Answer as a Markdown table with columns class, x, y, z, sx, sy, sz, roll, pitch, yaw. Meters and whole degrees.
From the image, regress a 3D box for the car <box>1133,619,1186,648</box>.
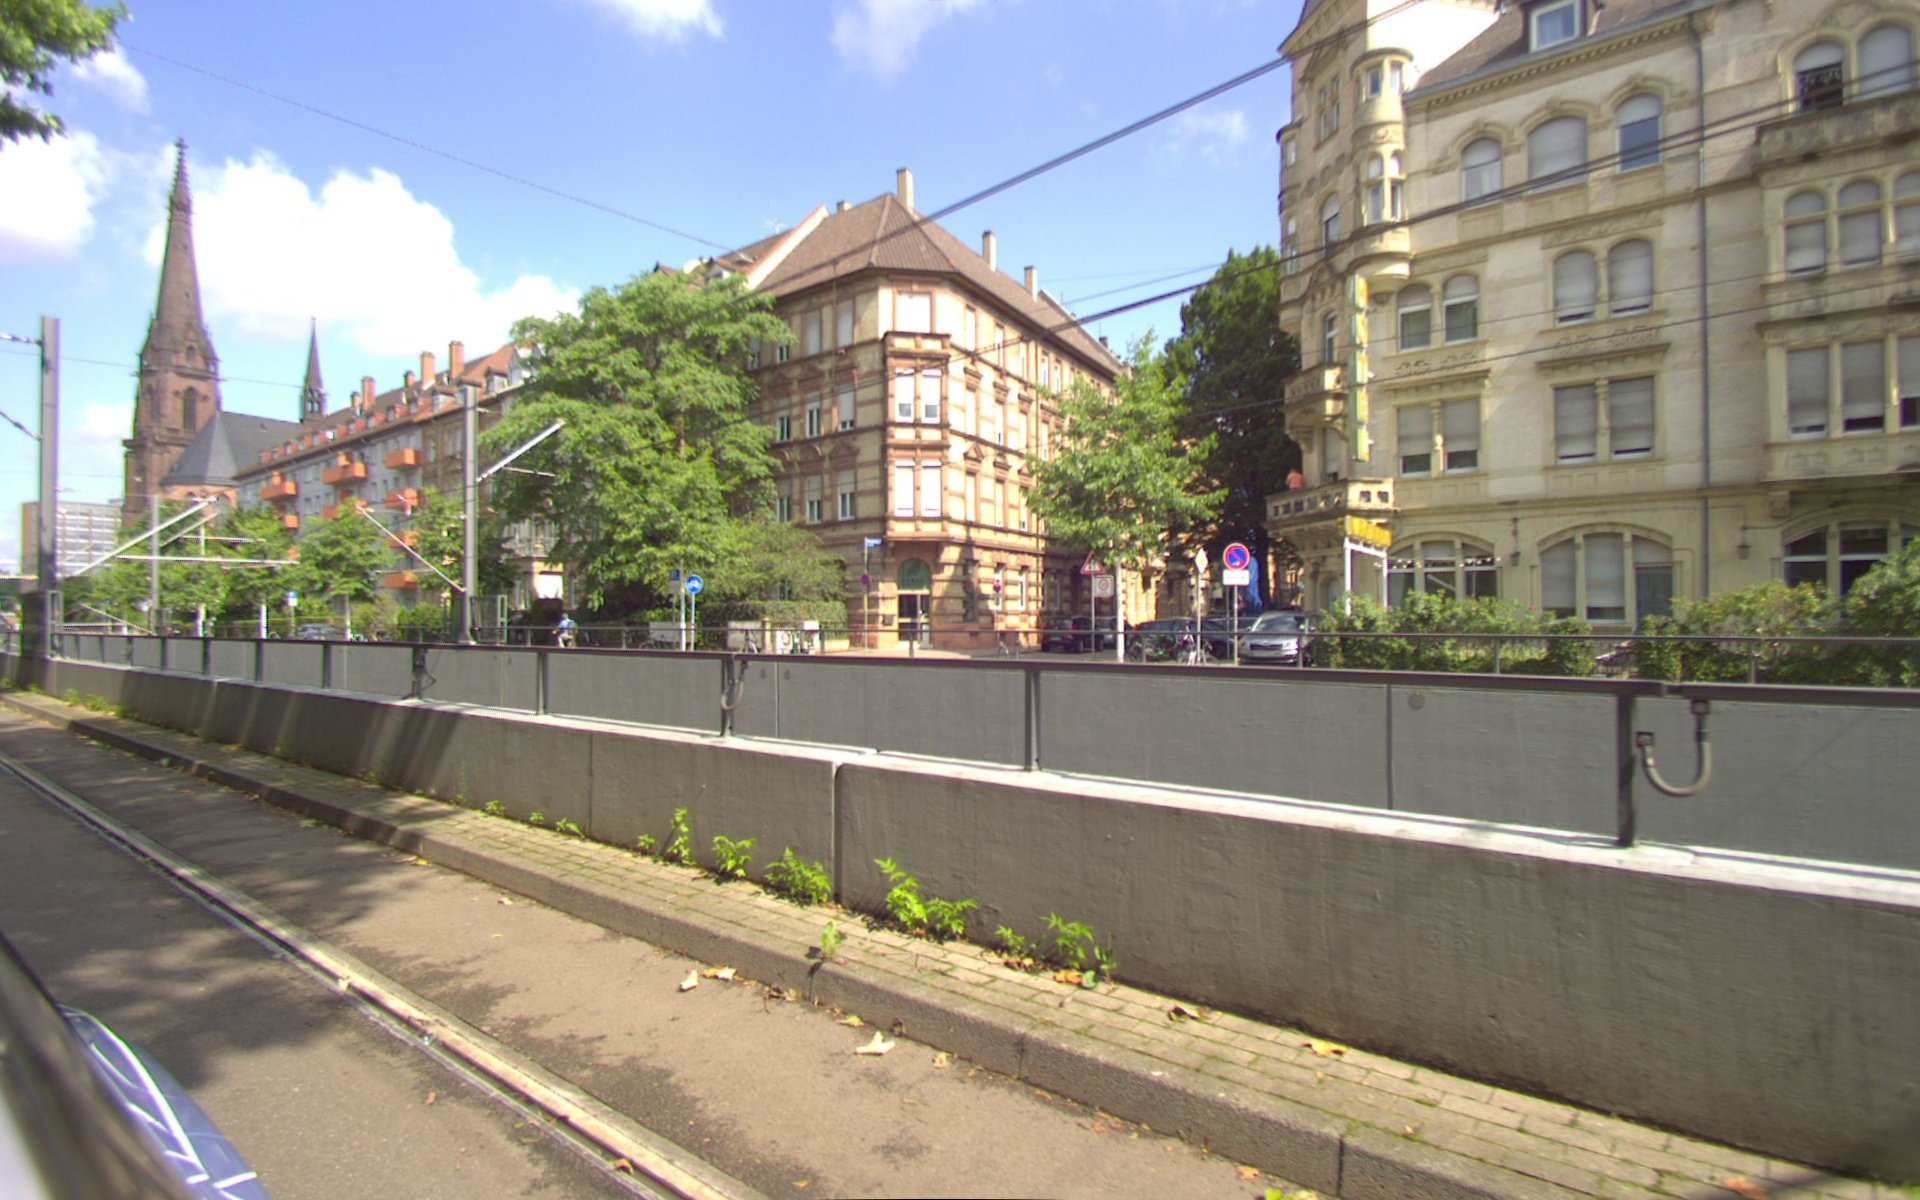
| class | x | y | z | sx | sy | sz | roll | pitch | yaw |
| --- | --- | --- | --- | --- | --- | --- | --- | --- | --- |
| car | 11.623 | 1.915 | 58.781 | 1.920 | 1.630 | 3.960 | -1 | -2 | 29 |

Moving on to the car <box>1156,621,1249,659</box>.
| class | x | y | z | sx | sy | sz | roll | pitch | yaw |
| --- | --- | --- | --- | --- | --- | --- | --- | --- | --- |
| car | 10.093 | 1.647 | 42.143 | 3.500 | 1.497 | 1.667 | -1 | -2 | 29 |

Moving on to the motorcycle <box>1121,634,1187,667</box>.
| class | x | y | z | sx | sy | sz | roll | pitch | yaw |
| --- | --- | --- | --- | --- | --- | --- | --- | --- | --- |
| motorcycle | 6.157 | 1.600 | 32.201 | 1.991 | 1.002 | 0.518 | -1 | -2 | 29 |

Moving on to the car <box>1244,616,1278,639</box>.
| class | x | y | z | sx | sy | sz | roll | pitch | yaw |
| --- | --- | --- | --- | --- | --- | --- | --- | --- | --- |
| car | 24.500 | 2.239 | 82.181 | 1.919 | 1.846 | 3.962 | -1 | -2 | 28 |

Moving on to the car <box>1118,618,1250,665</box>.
| class | x | y | z | sx | sy | sz | roll | pitch | yaw |
| --- | --- | --- | --- | --- | --- | --- | --- | --- | --- |
| car | 7.654 | 1.382 | 34.645 | 4.119 | 1.532 | 1.668 | -1 | -2 | 28 |

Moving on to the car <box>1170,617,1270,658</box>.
| class | x | y | z | sx | sy | sz | roll | pitch | yaw |
| --- | --- | --- | --- | --- | --- | --- | --- | --- | --- |
| car | 10.077 | 1.438 | 39.191 | 3.497 | 1.503 | 1.669 | -1 | -2 | 26 |

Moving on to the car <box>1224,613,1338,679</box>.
| class | x | y | z | sx | sy | sz | roll | pitch | yaw |
| --- | --- | --- | --- | --- | --- | --- | --- | --- | --- |
| car | 8.647 | 1.164 | 27.040 | 2.029 | 1.618 | 3.920 | -1 | -1 | 31 |

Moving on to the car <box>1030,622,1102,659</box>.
| class | x | y | z | sx | sy | sz | roll | pitch | yaw |
| --- | --- | --- | --- | --- | --- | --- | --- | --- | --- |
| car | 4.772 | 1.758 | 45.140 | 1.916 | 1.547 | 3.963 | 0 | -1 | 27 |

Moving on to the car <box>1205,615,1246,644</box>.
| class | x | y | z | sx | sy | sz | roll | pitch | yaw |
| --- | --- | --- | --- | --- | --- | --- | --- | --- | --- |
| car | 19.027 | 2.099 | 72.406 | 1.920 | 1.956 | 3.960 | -1 | -2 | 29 |

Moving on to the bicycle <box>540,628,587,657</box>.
| class | x | y | z | sx | sy | sz | roll | pitch | yaw |
| --- | --- | --- | --- | --- | --- | --- | --- | --- | --- |
| bicycle | -14.064 | 1.488 | 35.915 | 1.897 | 1.003 | 0.718 | -2 | -3 | 40 |

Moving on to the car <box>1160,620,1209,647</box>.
| class | x | y | z | sx | sy | sz | roll | pitch | yaw |
| --- | --- | --- | --- | --- | --- | --- | --- | --- | --- |
| car | 14.037 | 2.067 | 63.129 | 1.920 | 1.630 | 3.960 | -1 | -2 | 29 |

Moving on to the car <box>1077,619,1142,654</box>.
| class | x | y | z | sx | sy | sz | roll | pitch | yaw |
| --- | --- | --- | --- | --- | --- | --- | --- | --- | --- |
| car | 7.494 | 1.788 | 50.513 | 1.920 | 1.687 | 3.960 | -1 | -2 | 29 |

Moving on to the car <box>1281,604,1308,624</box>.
| class | x | y | z | sx | sy | sz | roll | pitch | yaw |
| --- | --- | --- | --- | --- | --- | --- | --- | --- | --- |
| car | 34.402 | 1.461 | 104.137 | 1.920 | 1.956 | 3.959 | -1 | -2 | 30 |

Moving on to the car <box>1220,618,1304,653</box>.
| class | x | y | z | sx | sy | sz | roll | pitch | yaw |
| --- | --- | --- | --- | --- | --- | --- | --- | --- | --- |
| car | 15.314 | 1.786 | 51.423 | 3.770 | 1.714 | 1.663 | -1 | -2 | 36 |

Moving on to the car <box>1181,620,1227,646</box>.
| class | x | y | z | sx | sy | sz | roll | pitch | yaw |
| --- | --- | --- | --- | --- | --- | --- | --- | --- | --- |
| car | 16.196 | 2.176 | 67.073 | 1.920 | 1.630 | 3.960 | -1 | -2 | 29 |

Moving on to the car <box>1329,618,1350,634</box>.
| class | x | y | z | sx | sy | sz | roll | pitch | yaw |
| --- | --- | --- | --- | --- | --- | --- | --- | --- | --- |
| car | 47.602 | 3.234 | 126.900 | 1.920 | 1.956 | 3.959 | -1 | -2 | 30 |

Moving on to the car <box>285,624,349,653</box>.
| class | x | y | z | sx | sy | sz | roll | pitch | yaw |
| --- | --- | --- | --- | --- | --- | --- | --- | --- | --- |
| car | -37.352 | 2.217 | 58.750 | 4.111 | 1.650 | 1.973 | -2 | -2 | 40 |

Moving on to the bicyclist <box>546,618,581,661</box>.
| class | x | y | z | sx | sy | sz | roll | pitch | yaw |
| --- | --- | --- | --- | --- | --- | --- | --- | --- | --- |
| bicyclist | -14.046 | 1.409 | 35.843 | 0.977 | 1.490 | 0.731 | -2 | -3 | 40 |

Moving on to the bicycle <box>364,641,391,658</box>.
| class | x | y | z | sx | sy | sz | roll | pitch | yaw |
| --- | --- | --- | --- | --- | --- | --- | --- | --- | --- |
| bicycle | -27.200 | 2.297 | 47.276 | 1.815 | 0.774 | 0.491 | -1 | -4 | 40 |

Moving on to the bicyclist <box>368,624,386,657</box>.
| class | x | y | z | sx | sy | sz | roll | pitch | yaw |
| --- | --- | --- | --- | --- | --- | --- | --- | --- | --- |
| bicyclist | -27.279 | 1.885 | 47.349 | 0.607 | 1.556 | 0.498 | -2 | -4 | 40 |

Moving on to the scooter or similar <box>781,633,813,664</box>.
| class | x | y | z | sx | sy | sz | roll | pitch | yaw |
| --- | --- | --- | --- | --- | --- | --- | --- | --- | --- |
| scooter or similar | -5.945 | 1.764 | 36.825 | 1.287 | 1.090 | 0.373 | -2 | 1 | 40 |
